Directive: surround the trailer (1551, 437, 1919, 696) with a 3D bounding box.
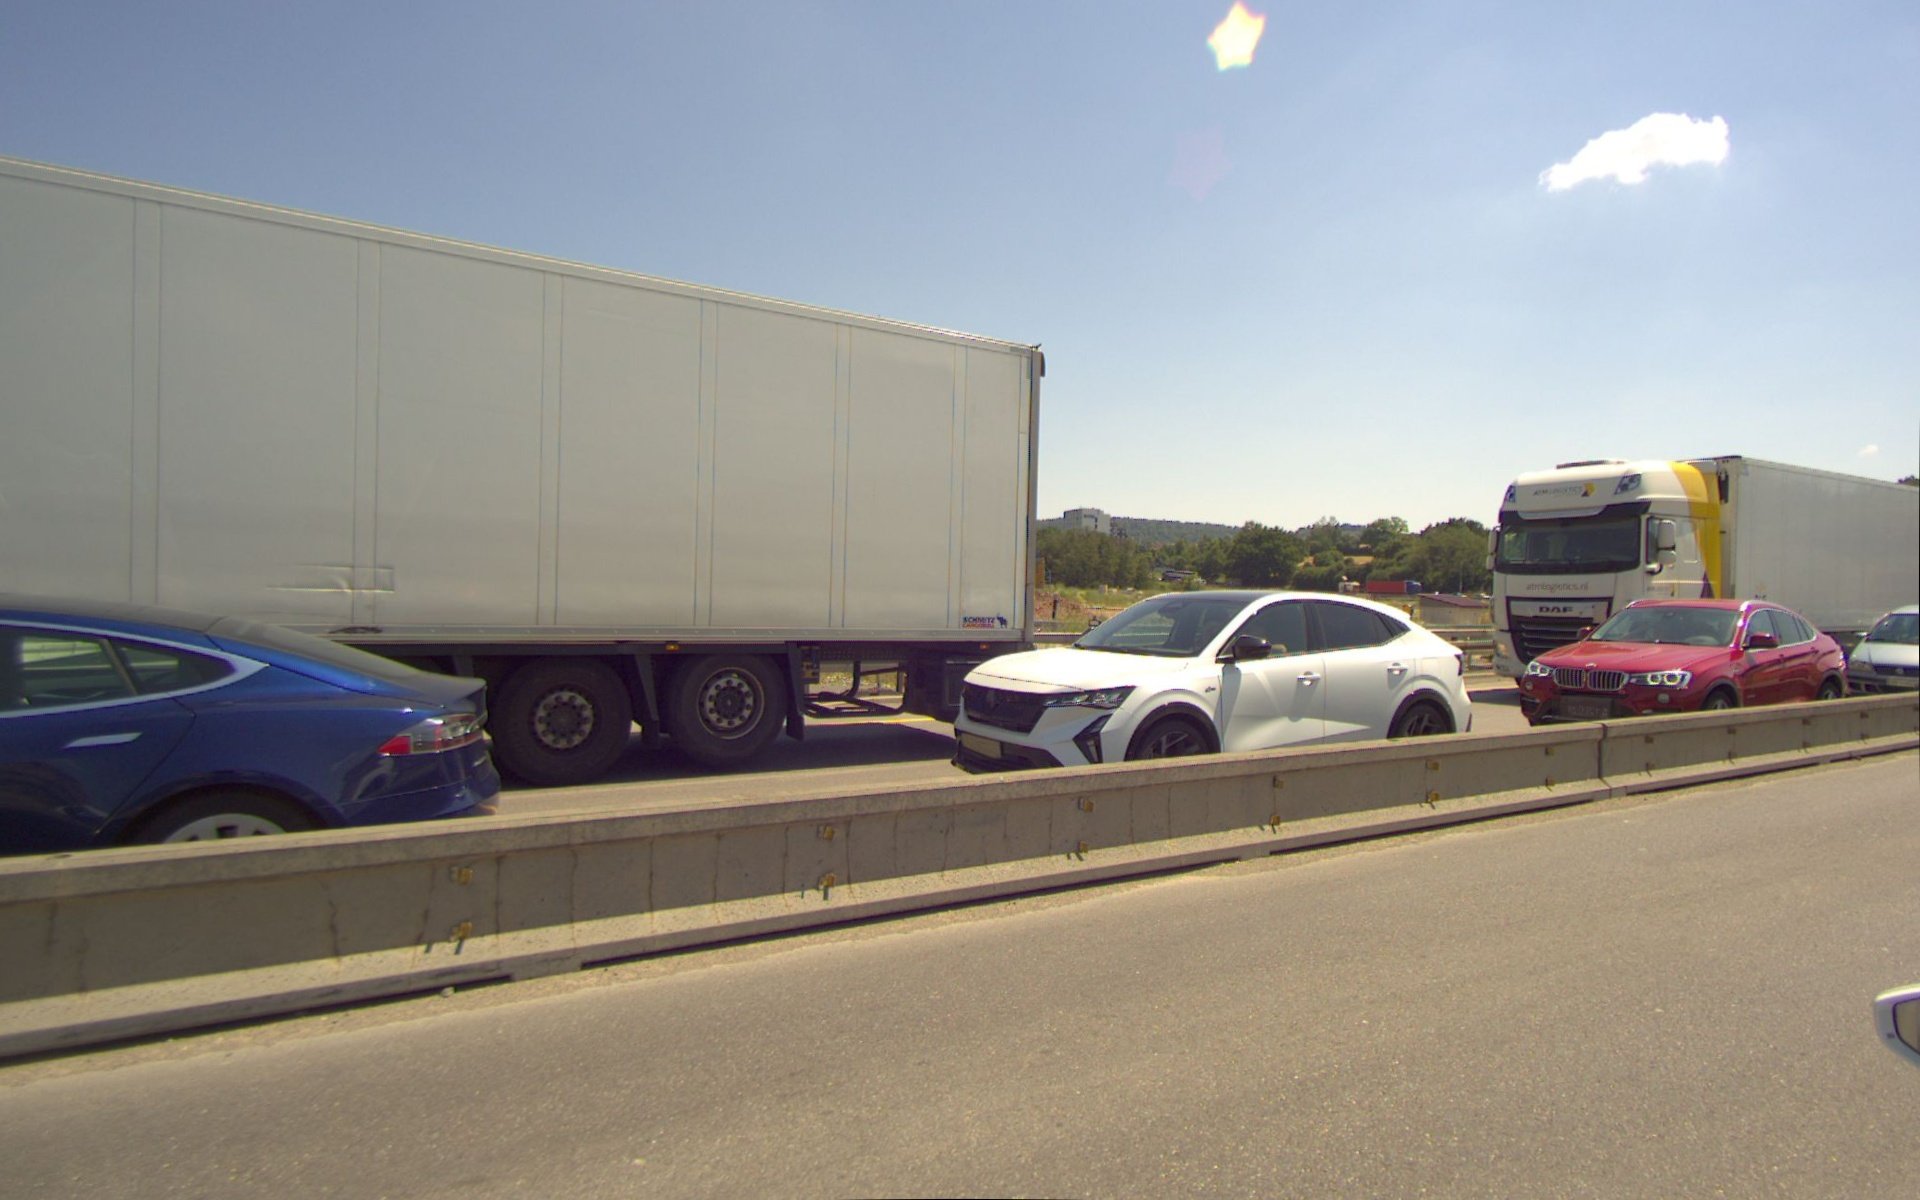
[{"bbox_3d":[17.902,-0.514,21.427,13.787,4.265,2.970,0,1,-32],"label":"trailer"}]

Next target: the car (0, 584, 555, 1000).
[{"bbox_3d":[-4.453,0.684,4.015,5.061,1.457,1.803,-1,2,-31],"label":"car"}]

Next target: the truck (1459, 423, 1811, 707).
[{"bbox_3d":[11.990,-0.512,17.793,5.806,4.241,2.962,0,1,-31],"label":"truck"}]

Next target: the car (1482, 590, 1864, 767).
[{"bbox_3d":[8.488,0.749,11.862,4.704,1.653,1.983,-1,2,-32],"label":"car"}]

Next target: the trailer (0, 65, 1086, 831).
[{"bbox_3d":[-5.548,-0.883,7.657,13.912,4.442,3.125,0,1,-31],"label":"trailer"}]

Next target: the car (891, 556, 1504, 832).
[{"bbox_3d":[2.039,0.585,8.090,4.827,1.642,1.983,1,0,-32],"label":"car"}]

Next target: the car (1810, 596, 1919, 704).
[{"bbox_3d":[15.821,0.779,16.374,3.954,1.595,1.818,1,0,-31],"label":"car"}]
